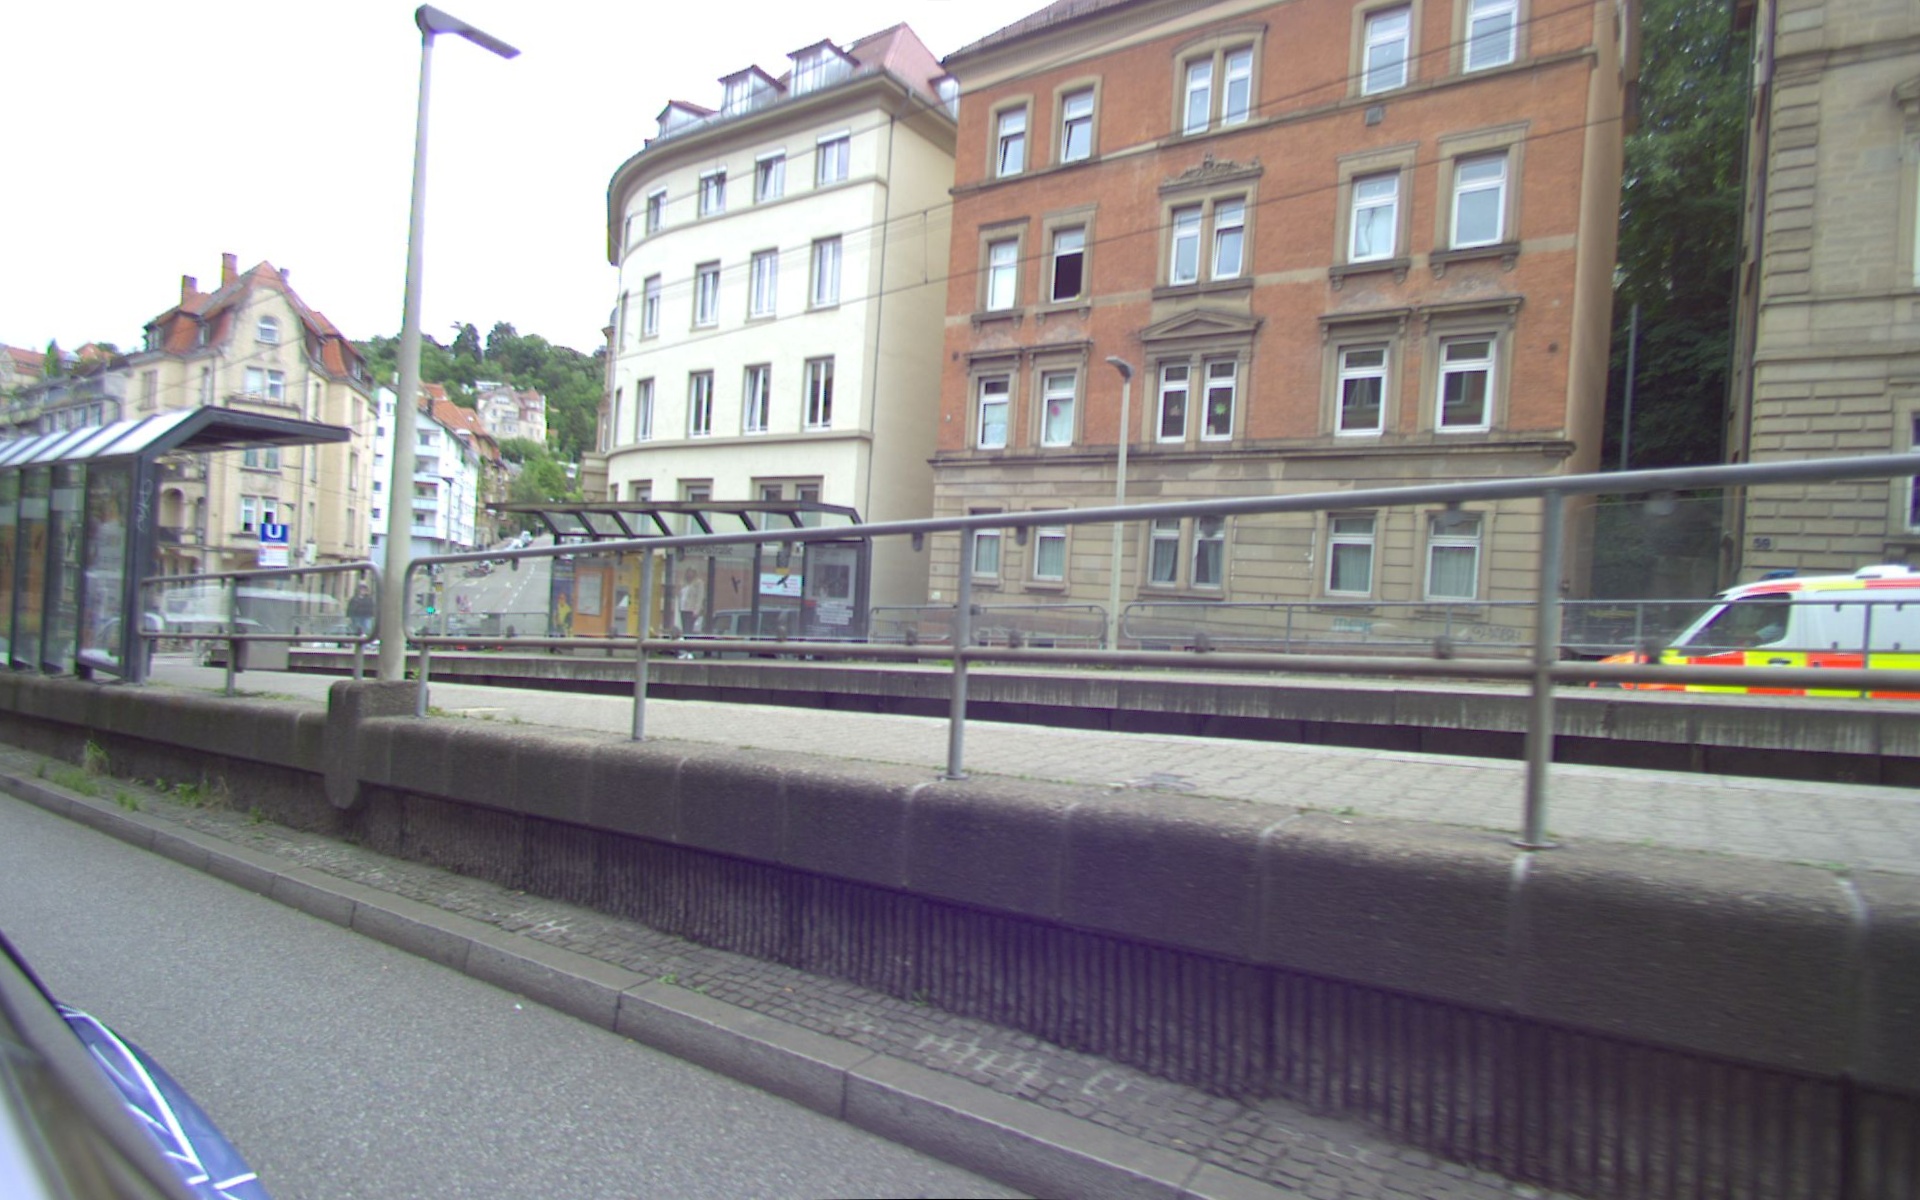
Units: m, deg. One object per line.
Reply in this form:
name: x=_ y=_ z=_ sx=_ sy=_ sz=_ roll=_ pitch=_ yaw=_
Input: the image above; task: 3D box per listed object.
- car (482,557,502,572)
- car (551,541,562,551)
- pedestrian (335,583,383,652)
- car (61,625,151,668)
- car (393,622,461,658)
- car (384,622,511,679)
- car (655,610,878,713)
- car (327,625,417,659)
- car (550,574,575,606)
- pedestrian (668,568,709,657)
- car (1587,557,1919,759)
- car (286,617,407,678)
car: x=-58.125 y=-4.395 z=125.665 sx=1.910 sy=1.650 sz=4.014 roll=1 pitch=5 yaw=-20
car: x=-70.259 y=-9.387 z=176.361 sx=1.619 sy=1.470 sz=3.321 roll=1 pitch=5 yaw=-20
pedestrian: x=-15.272 y=0.457 z=25.705 sx=0.841 sy=1.701 sz=0.758 roll=-2 pitch=-3 yaw=36
car: x=-35.973 y=1.937 z=42.618 sx=4.370 sy=1.747 sz=1.829 roll=-1 pitch=-3 yaw=35
car: x=-27.159 y=2.016 z=51.700 sx=1.822 sy=1.747 sz=4.389 roll=0 pitch=-2 yaw=-10
car: x=-16.665 y=1.610 z=32.836 sx=4.370 sy=1.747 sz=1.829 roll=-1 pitch=-3 yaw=35
car: x=-4.012 y=1.187 z=20.781 sx=4.404 sy=1.909 sz=1.977 roll=-1 pitch=-2 yaw=34
car: x=-31.509 y=2.243 z=54.363 sx=1.980 sy=1.723 sz=3.984 roll=0 pitch=-2 yaw=12
car: x=-34.775 y=-0.874 z=88.613 sx=1.965 sy=2.495 sz=4.014 roll=1 pitch=5 yaw=-20
pedestrian: x=-4.884 y=0.232 z=18.226 sx=0.539 sy=1.574 sz=0.458 roll=-1 pitch=-2 yaw=35
car: x=11.180 y=0.698 z=12.772 sx=5.443 sy=2.322 sz=1.976 roll=-1 pitch=-2 yaw=36
car: x=-19.276 y=1.454 z=31.763 sx=3.854 sy=1.778 sz=1.807 roll=-1 pitch=-2 yaw=35
